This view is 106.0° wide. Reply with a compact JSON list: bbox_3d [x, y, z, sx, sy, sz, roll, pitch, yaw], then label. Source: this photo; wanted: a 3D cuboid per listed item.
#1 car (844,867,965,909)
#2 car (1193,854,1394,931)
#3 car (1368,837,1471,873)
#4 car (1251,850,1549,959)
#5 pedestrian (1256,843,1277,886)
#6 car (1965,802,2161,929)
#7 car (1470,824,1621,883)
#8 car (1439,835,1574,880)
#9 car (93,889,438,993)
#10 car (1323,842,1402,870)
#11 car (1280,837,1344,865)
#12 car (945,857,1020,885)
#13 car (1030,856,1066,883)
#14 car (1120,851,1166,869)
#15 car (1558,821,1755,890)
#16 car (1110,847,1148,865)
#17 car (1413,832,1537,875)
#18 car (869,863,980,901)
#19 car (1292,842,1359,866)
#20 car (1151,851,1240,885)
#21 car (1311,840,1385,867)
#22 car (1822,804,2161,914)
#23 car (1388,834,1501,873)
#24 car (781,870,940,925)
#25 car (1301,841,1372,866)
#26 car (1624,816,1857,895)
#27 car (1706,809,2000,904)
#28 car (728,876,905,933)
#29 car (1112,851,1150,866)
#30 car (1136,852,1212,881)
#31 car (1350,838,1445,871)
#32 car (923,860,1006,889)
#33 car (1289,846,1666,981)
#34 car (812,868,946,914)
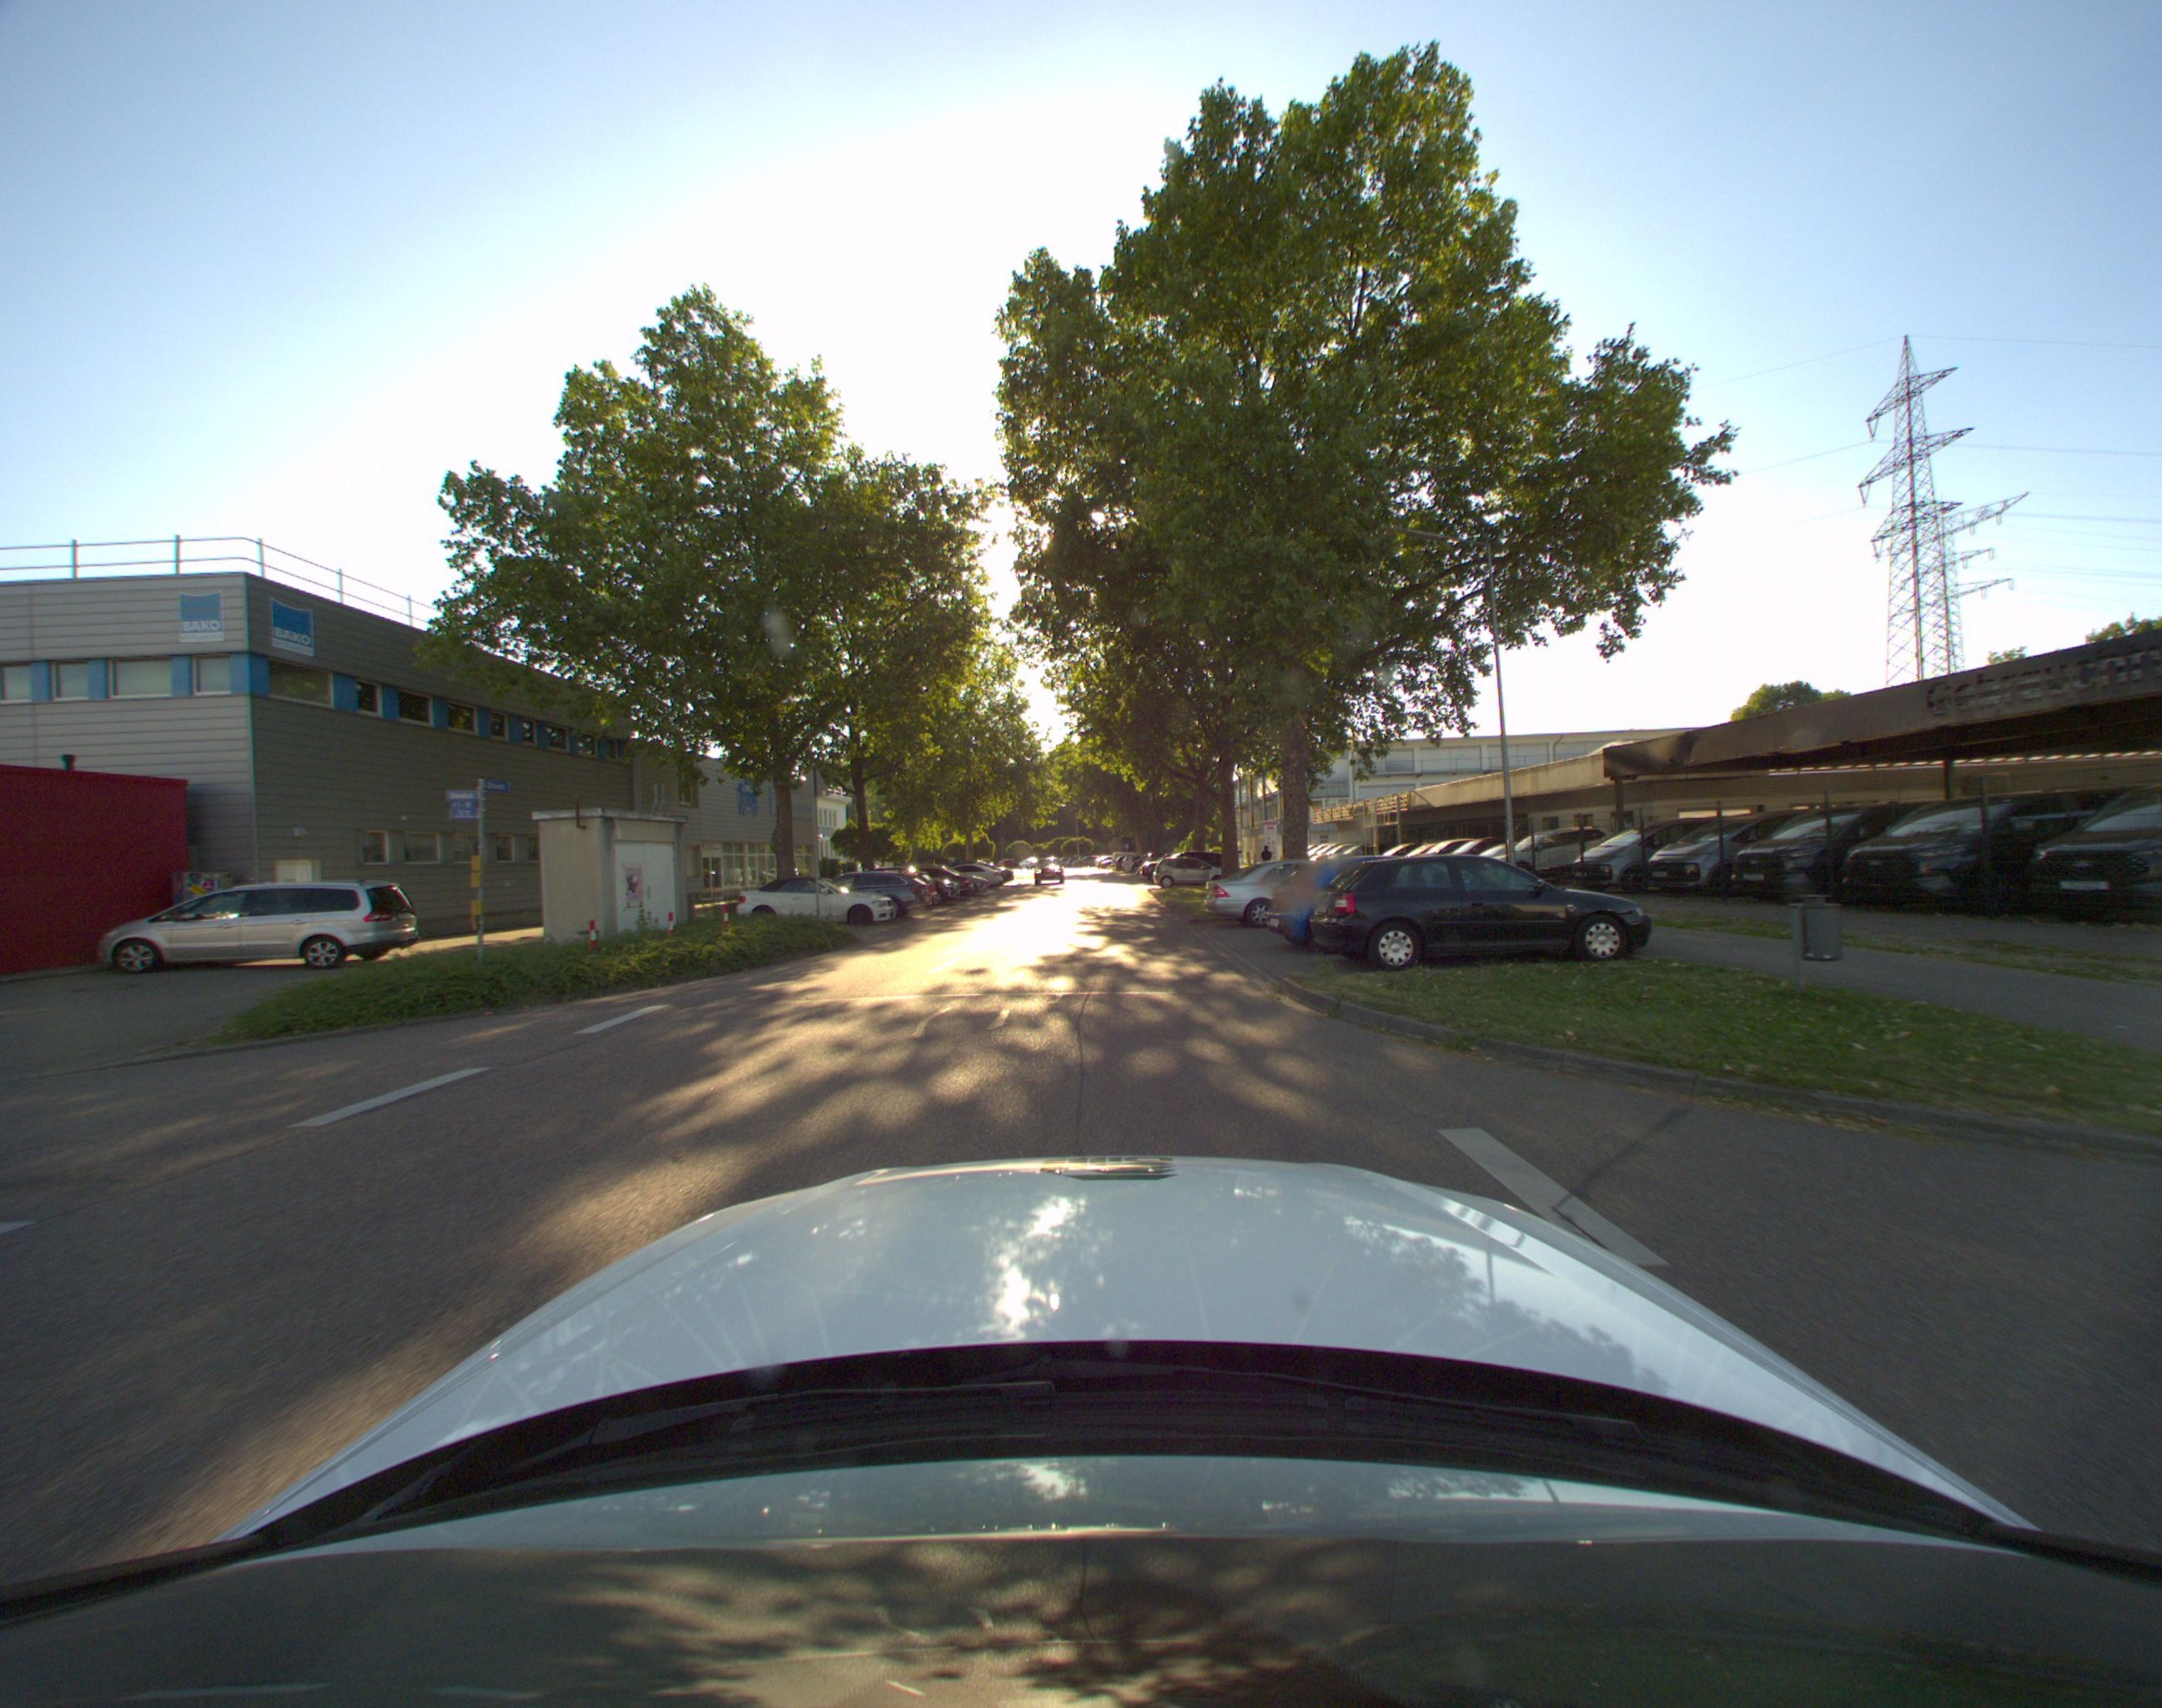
[{"bbox_3d":[-7.003,1.336,32.658,4.404,1.517,1.998,-1,0,-3],"label":"car"},{"bbox_3d":[4.613,0.807,18.113,3.973,1.415,1.827,-3,0,1],"label":"car"},{"bbox_3d":[15.706,0.036,37.979,3.974,1.546,2.000,-1,0,0],"label":"car"},{"bbox_3d":[4.927,0.751,13.054,3.973,1.415,2.000,-3,0,1],"label":"car"},{"bbox_3d":[8.922,0.502,39.178,0.846,2.013,0.780,-1,0,6],"label":"pedestrian"},{"bbox_3d":[15.145,0.107,11.124,3.974,1.568,2.000,-1,0,0],"label":"car"},{"bbox_3d":[15.616,-0.016,27.533,3.974,1.832,2.000,-1,0,0],"label":"car"},{"bbox_3d":[15.638,0.129,30.087,3.974,1.546,2.000,-1,0,0],"label":"car"},{"bbox_3d":[-16.556,1.696,16.864,4.637,1.741,1.990,-1,0,-15],"label":"car"},{"bbox_3d":[16.609,0.123,48.110,3.974,1.546,2.000,-1,0,0],"label":"car"},{"bbox_3d":[16.552,-0.191,58.496,3.974,1.906,2.000,-1,0,0],"label":"car"},{"bbox_3d":[-6.261,1.064,52.100,4.398,1.697,2.001,-1,0,2],"label":"car"},{"bbox_3d":[-2.025,0.945,51.389,1.986,1.608,4.001,0,0,1],"label":"car"},{"bbox_3d":[5.571,0.512,73.597,3.973,1.415,1.827,-3,0,1],"label":"car"},{"bbox_3d":[15.622,0.044,22.278,3.974,1.700,2.000,-1,0,0],"label":"car"},{"bbox_3d":[5.288,0.188,89.723,3.973,1.776,1.827,-3,0,1],"label":"car"},{"bbox_3d":[15.661,-0.022,32.524,3.974,1.546,2.000,-1,0,0],"label":"car"},{"bbox_3d":[-6.837,1.227,35.900,4.398,1.517,2.001,-1,0,2],"label":"car"},{"bbox_3d":[16.663,-0.017,55.551,3.974,1.546,2.000,-1,0,0],"label":"car"},{"bbox_3d":[5.416,0.651,38.990,3.973,1.415,1.827,-3,0,1],"label":"car"},{"bbox_3d":[16.562,-0.021,50.676,3.974,1.546,2.000,-1,0,0],"label":"car"},{"bbox_3d":[15.318,0.073,13.650,3.974,1.634,2.000,-1,0,0],"label":"car"},{"bbox_3d":[15.666,-0.019,35.254,3.974,1.546,2.000,-1,0,0],"label":"car"},{"bbox_3d":[-6.847,1.324,25.623,4.401,1.517,2.000,-1,0,-1],"label":"car"},{"bbox_3d":[16.638,-0.020,53.140,3.974,1.546,2.000,-1,0,0],"label":"car"},{"bbox_3d":[15.648,0.040,19.492,3.974,1.700,2.000,-1,0,0],"label":"car"},{"bbox_3d":[15.221,0.046,16.247,3.974,1.700,2.000,-1,0,0],"label":"car"},{"bbox_3d":[-7.400,1.390,23.173,4.407,1.403,1.997,-1,0,-4],"label":"car"},{"bbox_3d":[5.266,0.495,86.025,3.973,1.415,1.827,-3,0,1],"label":"car"},{"bbox_3d":[5.114,0.682,44.976,3.973,1.381,1.827,-3,0,1],"label":"car"},{"bbox_3d":[15.729,0.012,40.652,3.974,1.504,2.000,-1,0,0],"label":"car"},{"bbox_3d":[-6.702,1.158,47.034,4.398,1.517,2.001,-1,0,2],"label":"car"},{"bbox_3d":[5.002,0.719,10.763,3.973,1.415,2.000,-3,0,1],"label":"car"},{"bbox_3d":[-7.408,1.342,30.174,4.401,1.517,2.000,-1,0,-1],"label":"car"}]
